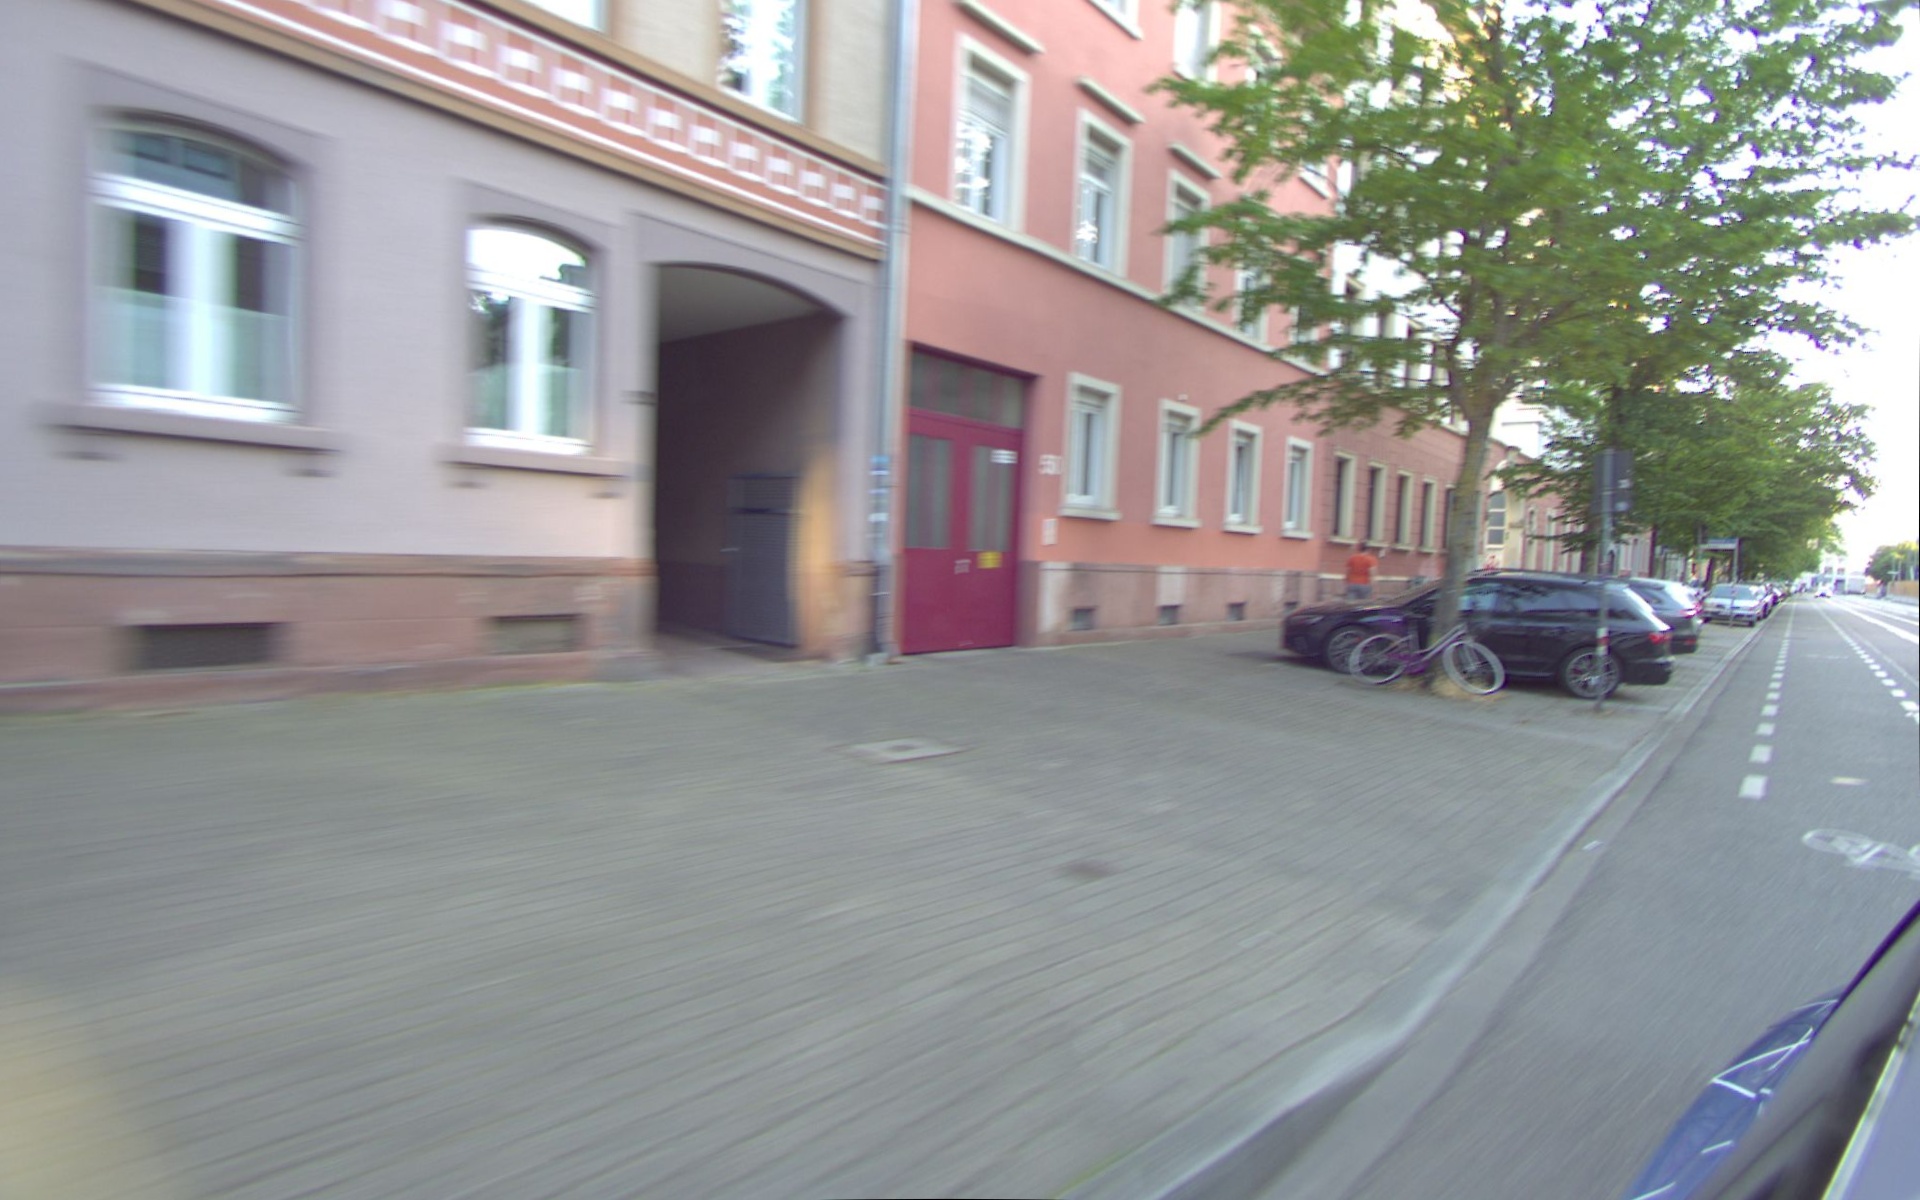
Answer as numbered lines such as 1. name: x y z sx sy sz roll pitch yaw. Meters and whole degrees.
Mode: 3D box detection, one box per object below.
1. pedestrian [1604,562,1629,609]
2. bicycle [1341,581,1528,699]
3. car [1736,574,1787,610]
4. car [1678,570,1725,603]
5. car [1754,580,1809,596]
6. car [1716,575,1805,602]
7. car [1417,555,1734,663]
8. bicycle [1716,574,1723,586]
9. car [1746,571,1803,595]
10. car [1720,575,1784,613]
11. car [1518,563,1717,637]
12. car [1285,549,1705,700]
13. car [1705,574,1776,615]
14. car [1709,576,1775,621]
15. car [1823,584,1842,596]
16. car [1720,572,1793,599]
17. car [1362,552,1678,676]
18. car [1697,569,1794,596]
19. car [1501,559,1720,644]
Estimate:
1. pedestrian: 26.105 -0.576 40.243 0.680 1.838 0.591 4 3 41
2. bicycle: 5.388 0.408 11.535 1.689 1.114 0.914 7 5 40
3. car: 42.148 -0.441 53.173 1.879 1.636 4.201 7 5 39
4. car: 39.771 -0.753 54.324 1.875 1.603 3.969 4 3 35
5. car: 96.101 -1.457 118.462 4.570 1.535 1.803 4 3 15
6. car: 54.740 -0.819 69.305 4.344 1.481 1.706 5 3 24
7. car: 10.825 0.077 18.242 4.401 1.534 2.052 4 3 18
8. bicycle: 81.035 -2.122 108.001 0.469 1.225 1.757 4 3 40
9. car: 104.930 -2.180 130.394 5.179 2.651 1.913 5 4 25
10. car: 35.974 -0.328 45.927 1.993 1.506 4.962 6 4 40
11. car: 15.492 -0.053 24.047 3.517 1.446 1.661 4 3 16
12. car: 6.790 0.226 13.446 4.557 1.474 1.702 5 4 17
13. car: 31.406 -0.244 40.683 1.781 1.397 4.619 7 5 42
14. car: 27.935 -0.089 36.133 1.618 1.397 3.721 7 5 40
15. car: 131.269 -1.439 152.311 1.992 1.704 3.942 3 2 40
16. car: 62.133 -1.150 78.997 3.951 1.837 1.813 5 3 20
17. car: 8.631 0.132 16.023 3.946 1.509 1.823 4 5 17
18. car: 47.189 -1.059 60.903 4.203 1.405 1.613 3 3 16
19. car: 13.929 -0.022 21.905 3.517 1.534 1.736 4 3 16
